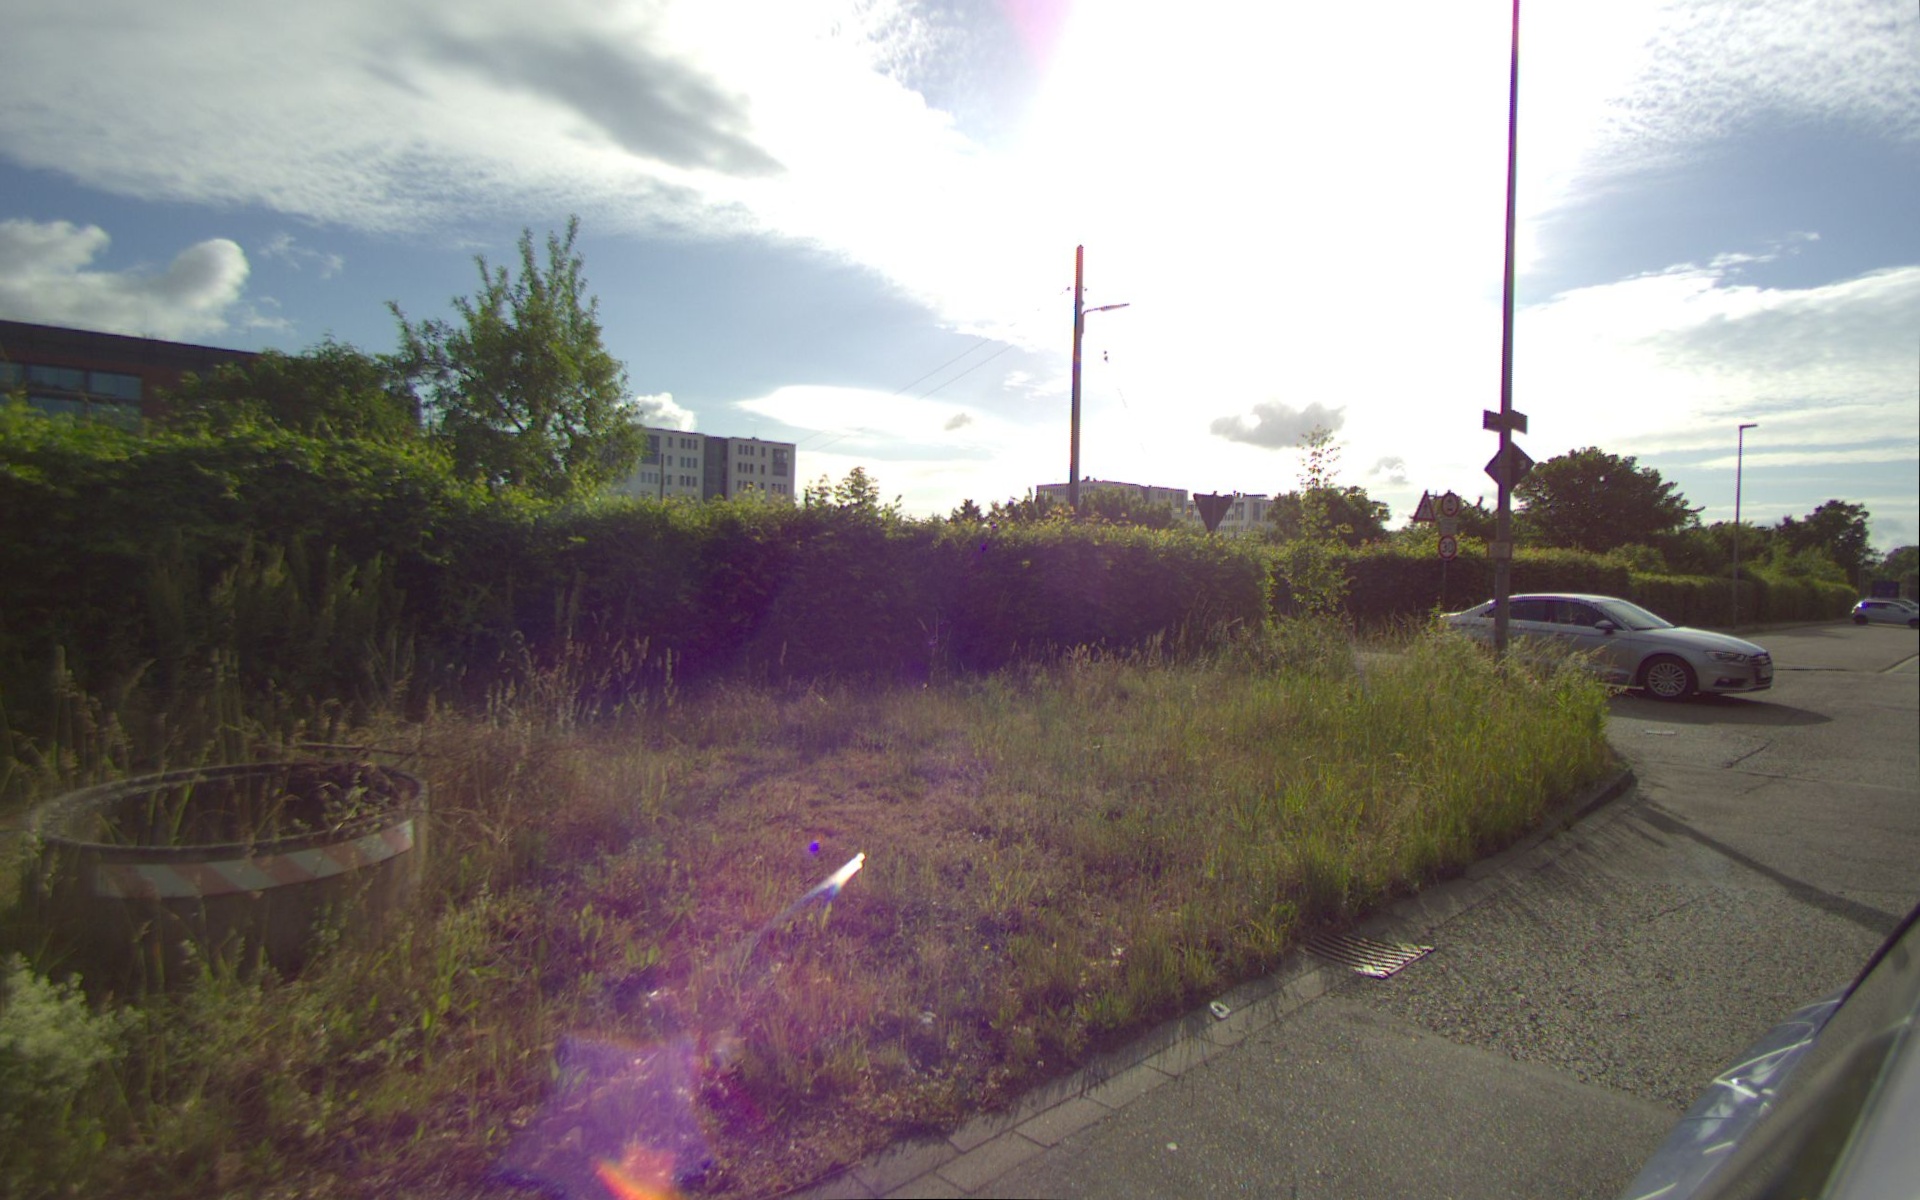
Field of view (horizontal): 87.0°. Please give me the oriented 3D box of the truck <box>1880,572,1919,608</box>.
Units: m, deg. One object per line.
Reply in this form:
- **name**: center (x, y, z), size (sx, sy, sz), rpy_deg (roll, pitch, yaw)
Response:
- **truck**: center (109.449, -1.185, 117.985), size (2.592, 4.006, 6.196), rpy_deg (5, 4, 38)

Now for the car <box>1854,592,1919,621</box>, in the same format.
- **car**: center (55.577, 0.415, 59.829), size (1.664, 1.508, 3.863), rpy_deg (1, 3, -44)

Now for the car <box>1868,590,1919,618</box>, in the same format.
- **car**: center (63.269, 0.273, 66.965), size (1.733, 1.720, 4.595), rpy_deg (-1, 3, -42)

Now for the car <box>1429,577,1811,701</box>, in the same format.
- **car**: center (9.614, 0.439, 15.111), size (1.896, 1.460, 4.377), rpy_deg (-1, 3, -35)
